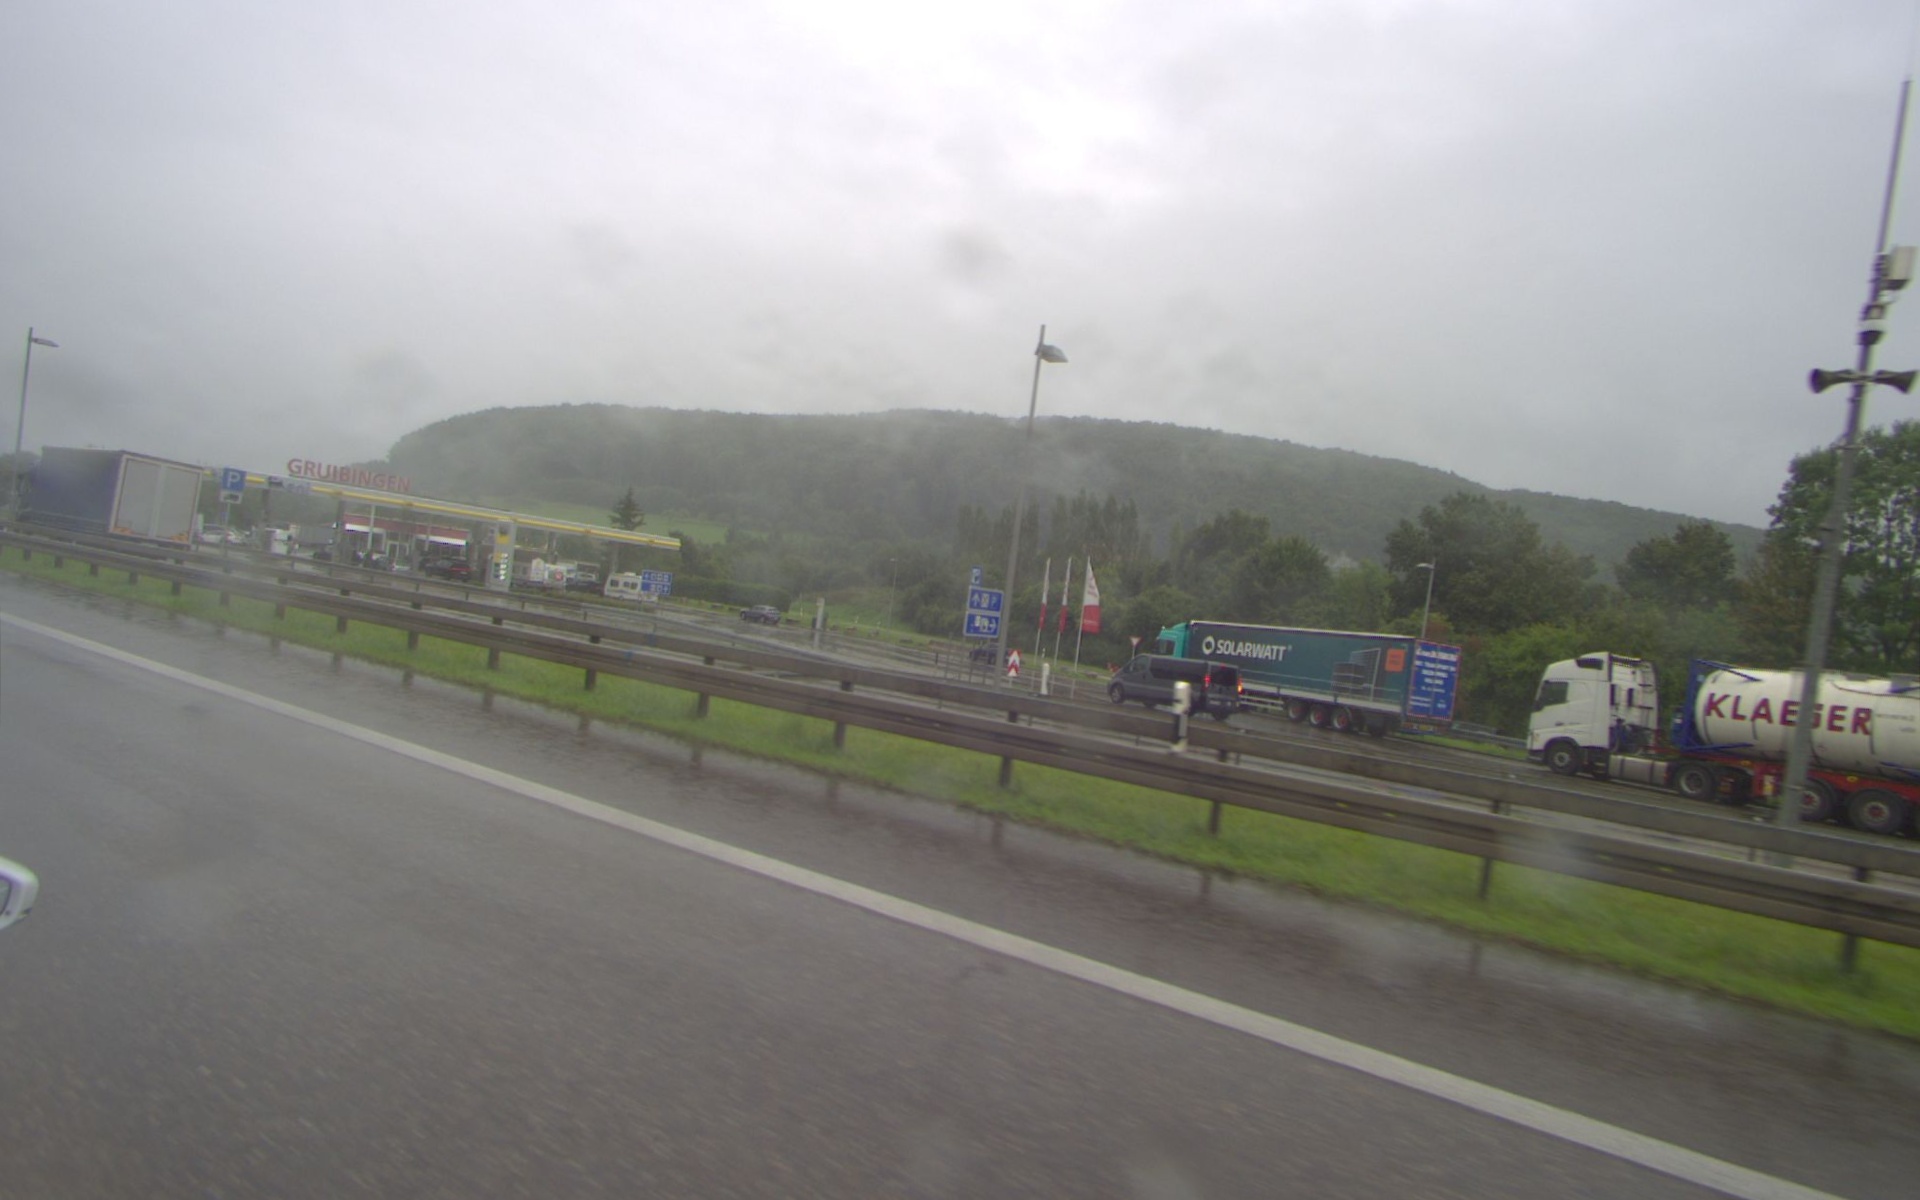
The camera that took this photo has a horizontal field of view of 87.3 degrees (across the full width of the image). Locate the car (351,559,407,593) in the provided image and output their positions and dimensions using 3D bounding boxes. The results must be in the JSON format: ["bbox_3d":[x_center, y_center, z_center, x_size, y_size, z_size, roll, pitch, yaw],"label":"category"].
[{"bbox_3d":[-44.916,-1.851,77.758,3.934,2.037,1.964,6,-2,32],"label":"car"}]

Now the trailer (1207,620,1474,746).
[{"bbox_3d":[15.484,3.223,42.611,2.759,3.945,11.686,8,-2,-24],"label":"trailer"}]

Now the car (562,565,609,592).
[{"bbox_3d":[-35.700,-2.068,95.981,3.934,2.037,1.998,6,-2,32],"label":"car"}]

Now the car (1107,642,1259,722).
[{"bbox_3d":[7.740,2.830,35.426,1.983,2.037,5.005,8,-1,-36],"label":"car"}]

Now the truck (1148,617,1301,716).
[{"bbox_3d":[12.655,3.094,48.920,2.723,3.911,7.493,8,-2,-24],"label":"truck"}]

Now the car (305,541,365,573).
[{"bbox_3d":[-50.775,-3.513,81.688,4.820,2.037,1.997,6,-2,32],"label":"car"}]

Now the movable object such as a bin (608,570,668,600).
[{"bbox_3d":[-29.738,-1.373,92.997,5.294,2.037,2.171,6,-2,32],"label":"movable object such as a bin"}]

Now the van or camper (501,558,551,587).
[{"bbox_3d":[-38.737,-2.492,89.816,3.934,2.037,1.997,6,-2,32],"label":"van or camper"}]

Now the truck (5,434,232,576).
[{"bbox_3d":[-33.415,-3.849,39.753,10.868,4.452,3.408,7,-2,33],"label":"truck"}]

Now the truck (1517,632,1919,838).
[{"bbox_3d":[22.023,3.496,27.796,2.845,4.305,11.804,8,-2,-25],"label":"truck"}]

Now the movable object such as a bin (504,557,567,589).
[{"bbox_3d":[-37.631,-2.414,89.152,5.629,2.214,1.998,6,-2,32],"label":"movable object such as a bin"}]
